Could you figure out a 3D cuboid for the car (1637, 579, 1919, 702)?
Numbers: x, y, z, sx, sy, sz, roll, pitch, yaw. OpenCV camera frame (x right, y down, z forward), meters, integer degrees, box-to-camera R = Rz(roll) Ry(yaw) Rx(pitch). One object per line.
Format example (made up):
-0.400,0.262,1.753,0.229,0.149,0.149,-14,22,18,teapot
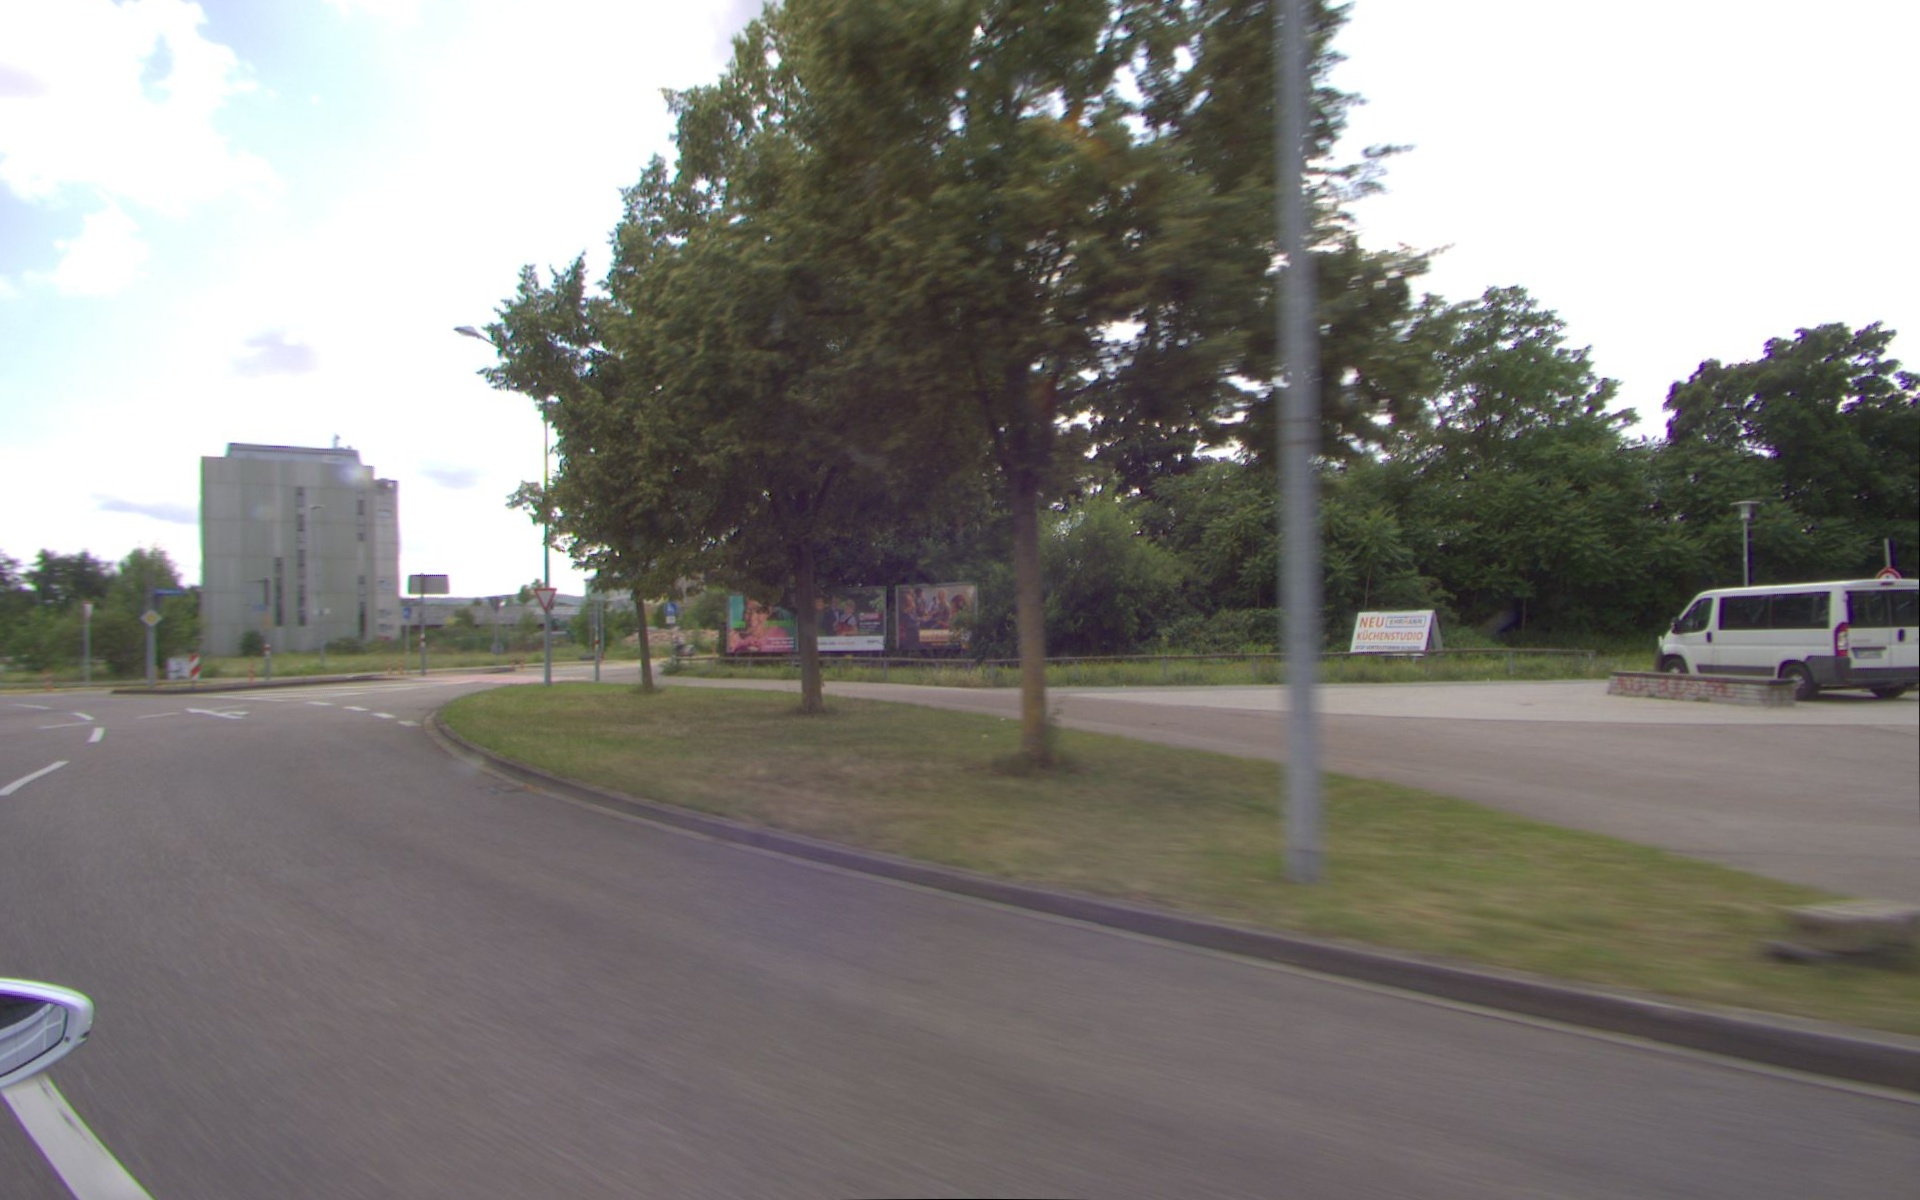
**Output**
16.594,0.813,20.281,2.107,2.175,5.154,0,-2,-3,car

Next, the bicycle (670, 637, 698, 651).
-21.129,3.364,76.676,0.860,1.030,2.543,-1,-4,16,bicycle

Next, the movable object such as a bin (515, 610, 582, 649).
-44.765,3.266,109.244,2.991,3.899,7.620,-1,-4,11,movable object such as a bin

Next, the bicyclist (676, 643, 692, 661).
-21.049,3.988,76.392,0.860,1.341,0.812,-1,-3,17,bicyclist
